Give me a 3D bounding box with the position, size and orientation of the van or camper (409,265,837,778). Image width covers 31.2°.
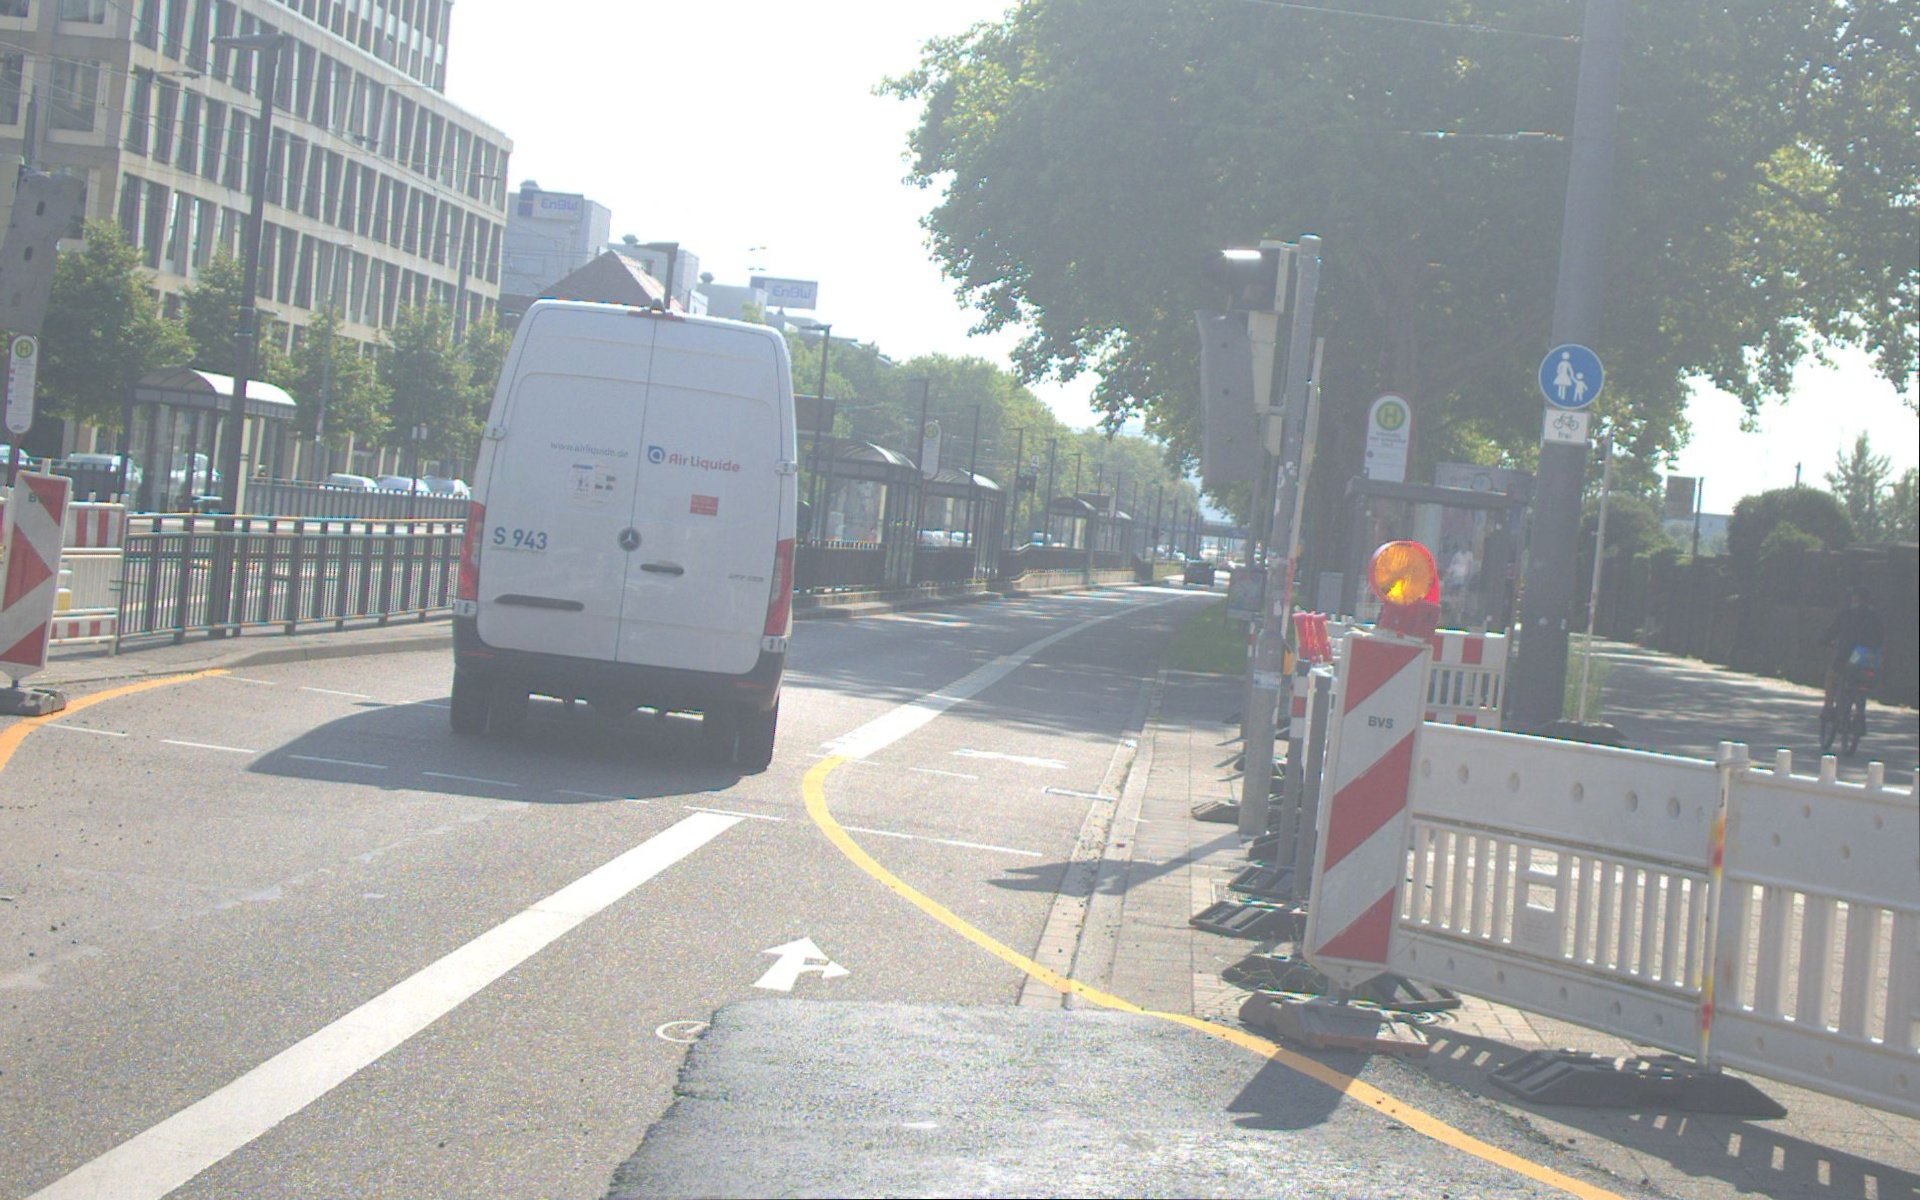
[{"bbox_3d":[-2.033,-0.512,22.247,2.115,2.672,5.251,7,1,-3],"label":"van or camper"}]

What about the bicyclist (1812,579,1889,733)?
[{"bbox_3d":[9.290,0.578,35.873,0.469,1.534,0.596,6,1,-2],"label":"bicyclist"}]

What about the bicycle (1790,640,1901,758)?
[{"bbox_3d":[9.238,1.021,35.932,0.491,1.085,1.858,6,1,-2],"label":"bicycle"}]
